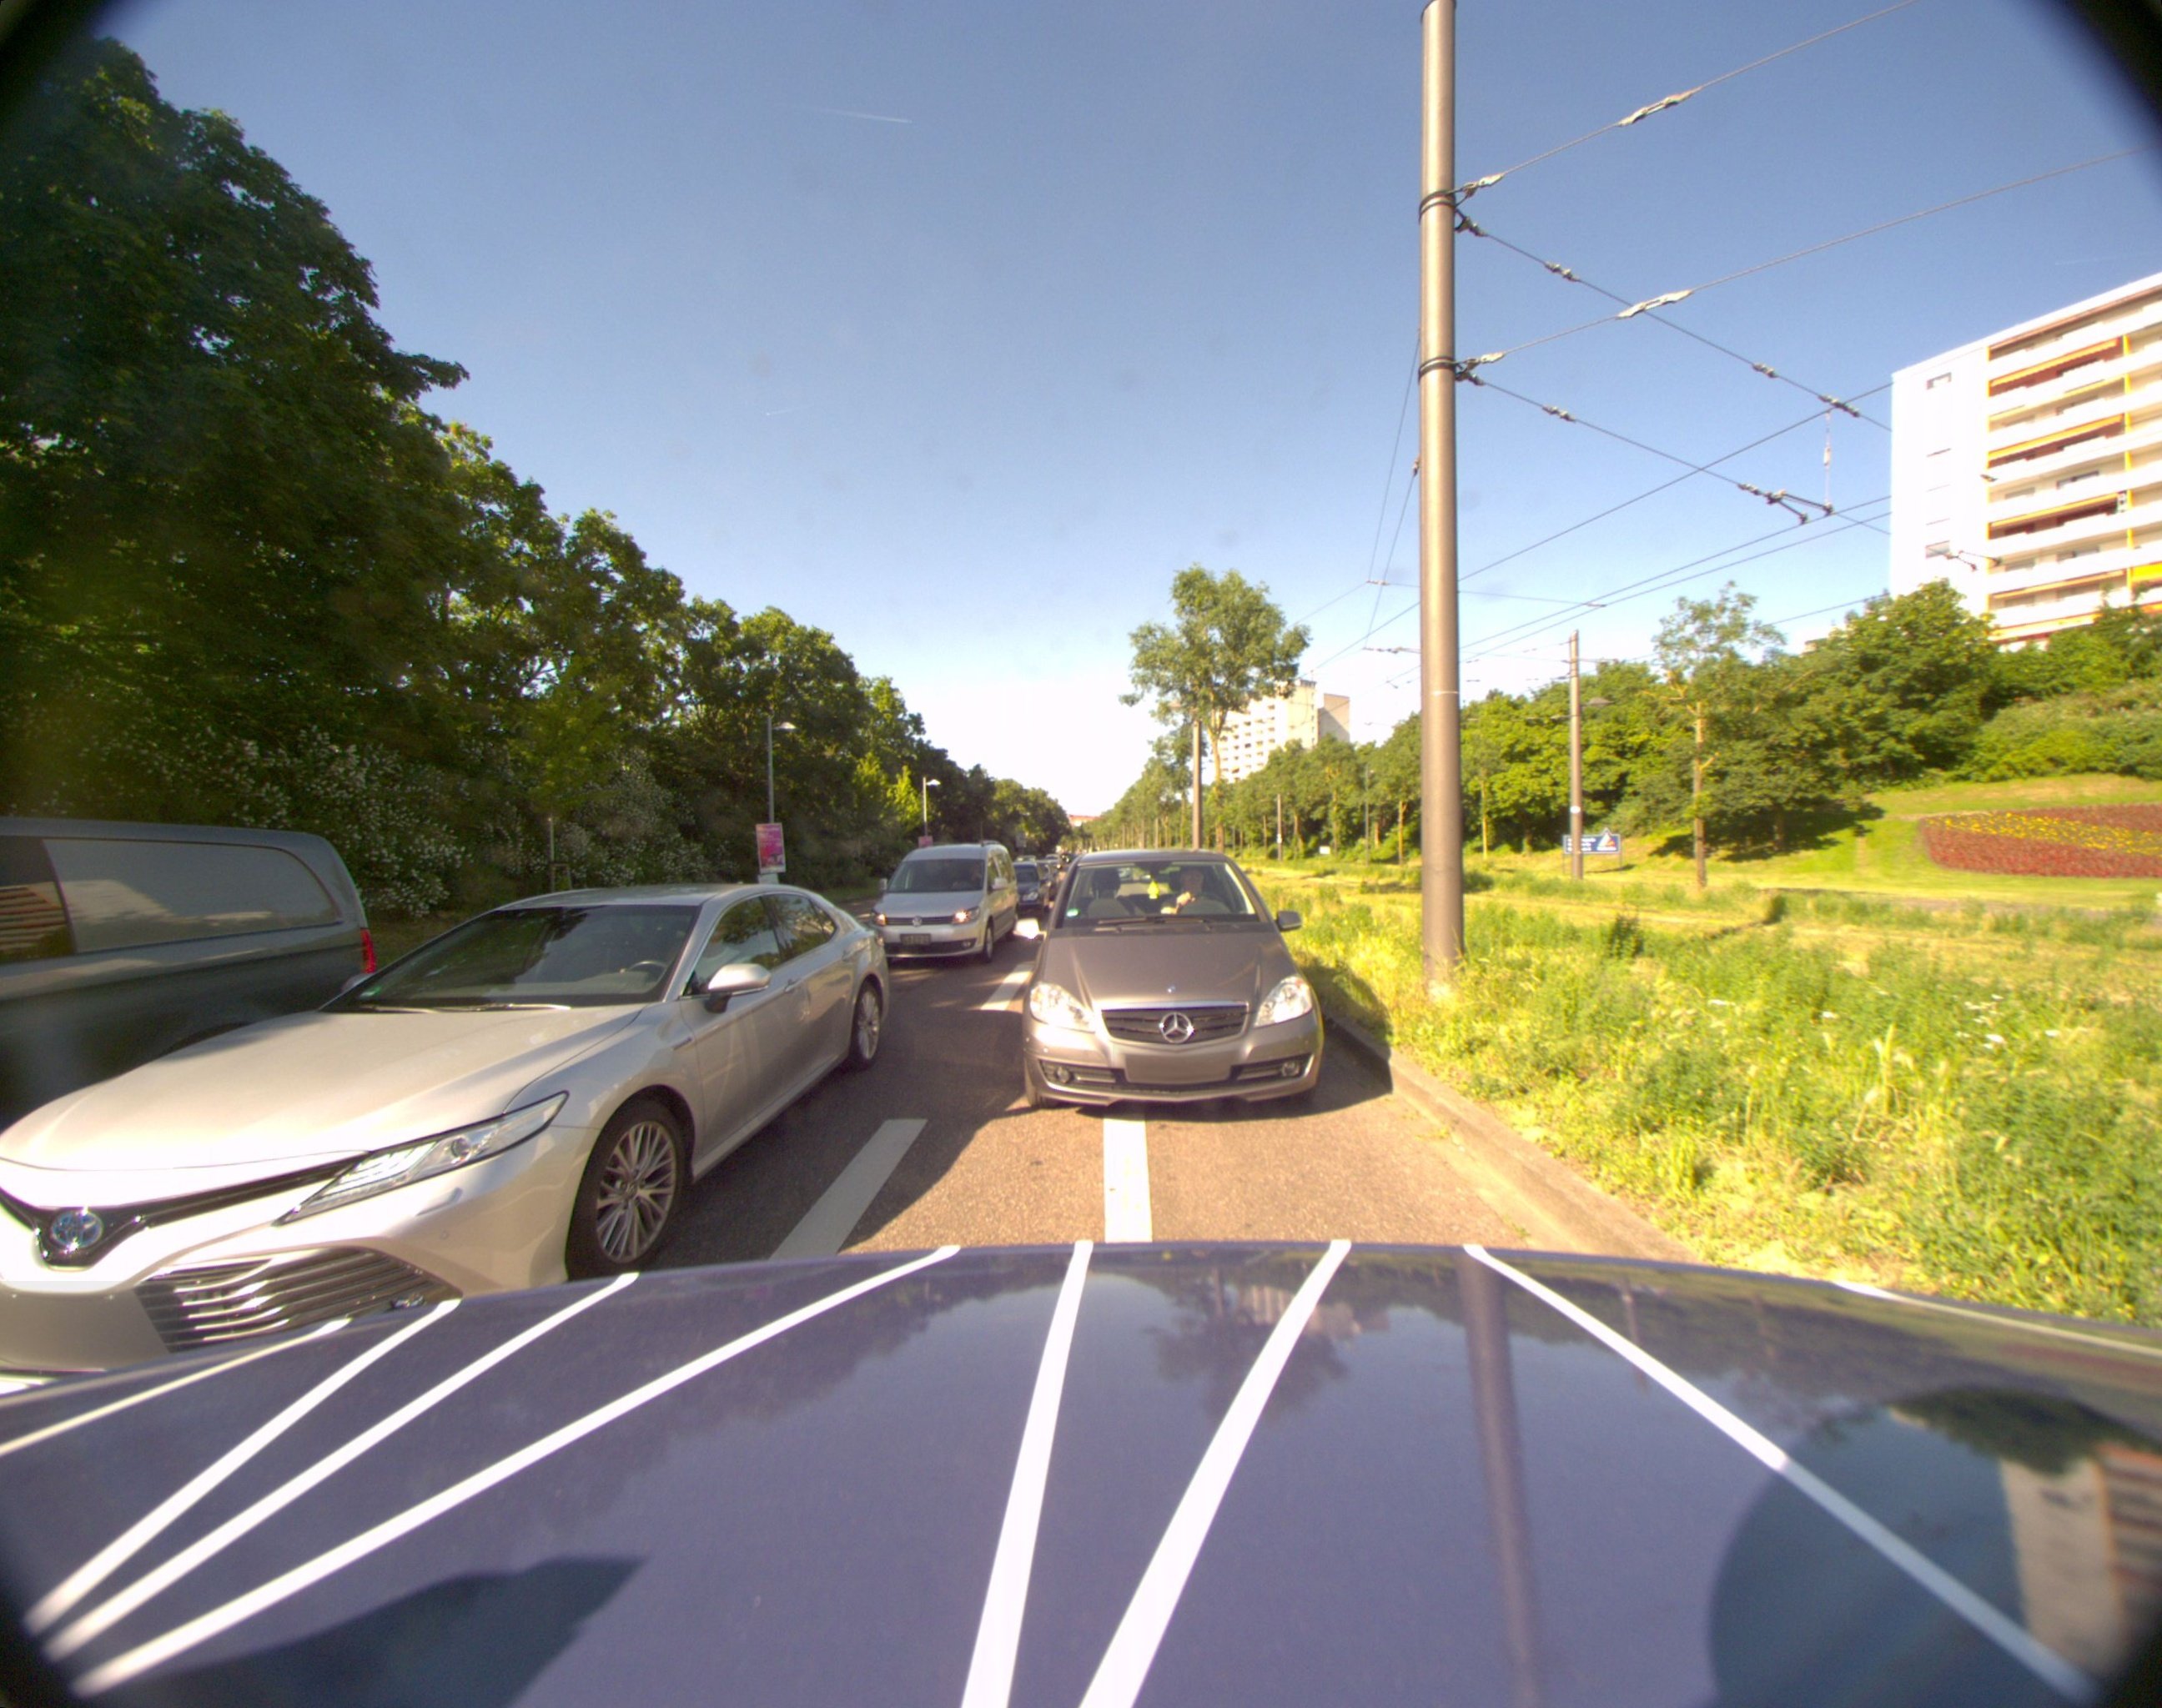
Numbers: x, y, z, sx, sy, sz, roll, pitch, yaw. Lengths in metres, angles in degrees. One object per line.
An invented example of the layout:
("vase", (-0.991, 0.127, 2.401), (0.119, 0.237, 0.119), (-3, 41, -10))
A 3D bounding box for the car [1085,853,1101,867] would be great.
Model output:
("car", (1.428, 0.743, 90.286), (1.777, 1.597, 4.384), (-1, 0, 1))

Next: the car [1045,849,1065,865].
("car", (-2.595, 0.293, 76.551), (1.777, 1.597, 4.384), (-1, 0, 1))

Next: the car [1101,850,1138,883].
("car", (1.958, 0.595, 39.729), (1.777, 1.597, 4.384), (-1, 0, 1))

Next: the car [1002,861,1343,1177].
("car", (0.514, 0.894, 6.207), (1.777, 1.597, 4.384), (-1, 0, 1))

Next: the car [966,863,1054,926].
("car", (-1.725, 0.967, 19.716), (1.776, 1.395, 4.067), (-1, 0, 2))

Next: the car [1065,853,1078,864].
("car", (-1.406, 0.620, 114.202), (1.777, 1.597, 4.300), (-1, 0, 1))

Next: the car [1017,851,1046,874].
("car", (-3.601, 0.618, 55.848), (1.777, 1.597, 4.384), (-1, 0, 1))

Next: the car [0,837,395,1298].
("car", (-5.442, 0.889, 2.262), (1.998, 1.882, 5.148), (-1, 0, 1))

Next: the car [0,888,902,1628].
("car", (-2.646, 1.044, 4.122), (2.069, 1.451, 4.749), (-1, 0, 2))

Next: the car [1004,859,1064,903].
("car", (-1.611, 0.912, 27.532), (1.776, 1.395, 4.067), (-1, 0, 2))

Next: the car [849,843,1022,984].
("car", (-2.155, 0.793, 12.620), (1.822, 1.893, 4.622), (-1, 0, 2))

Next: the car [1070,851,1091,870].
("car", (-0.031, 0.512, 66.378), (1.777, 1.597, 4.384), (-1, 0, 1))
